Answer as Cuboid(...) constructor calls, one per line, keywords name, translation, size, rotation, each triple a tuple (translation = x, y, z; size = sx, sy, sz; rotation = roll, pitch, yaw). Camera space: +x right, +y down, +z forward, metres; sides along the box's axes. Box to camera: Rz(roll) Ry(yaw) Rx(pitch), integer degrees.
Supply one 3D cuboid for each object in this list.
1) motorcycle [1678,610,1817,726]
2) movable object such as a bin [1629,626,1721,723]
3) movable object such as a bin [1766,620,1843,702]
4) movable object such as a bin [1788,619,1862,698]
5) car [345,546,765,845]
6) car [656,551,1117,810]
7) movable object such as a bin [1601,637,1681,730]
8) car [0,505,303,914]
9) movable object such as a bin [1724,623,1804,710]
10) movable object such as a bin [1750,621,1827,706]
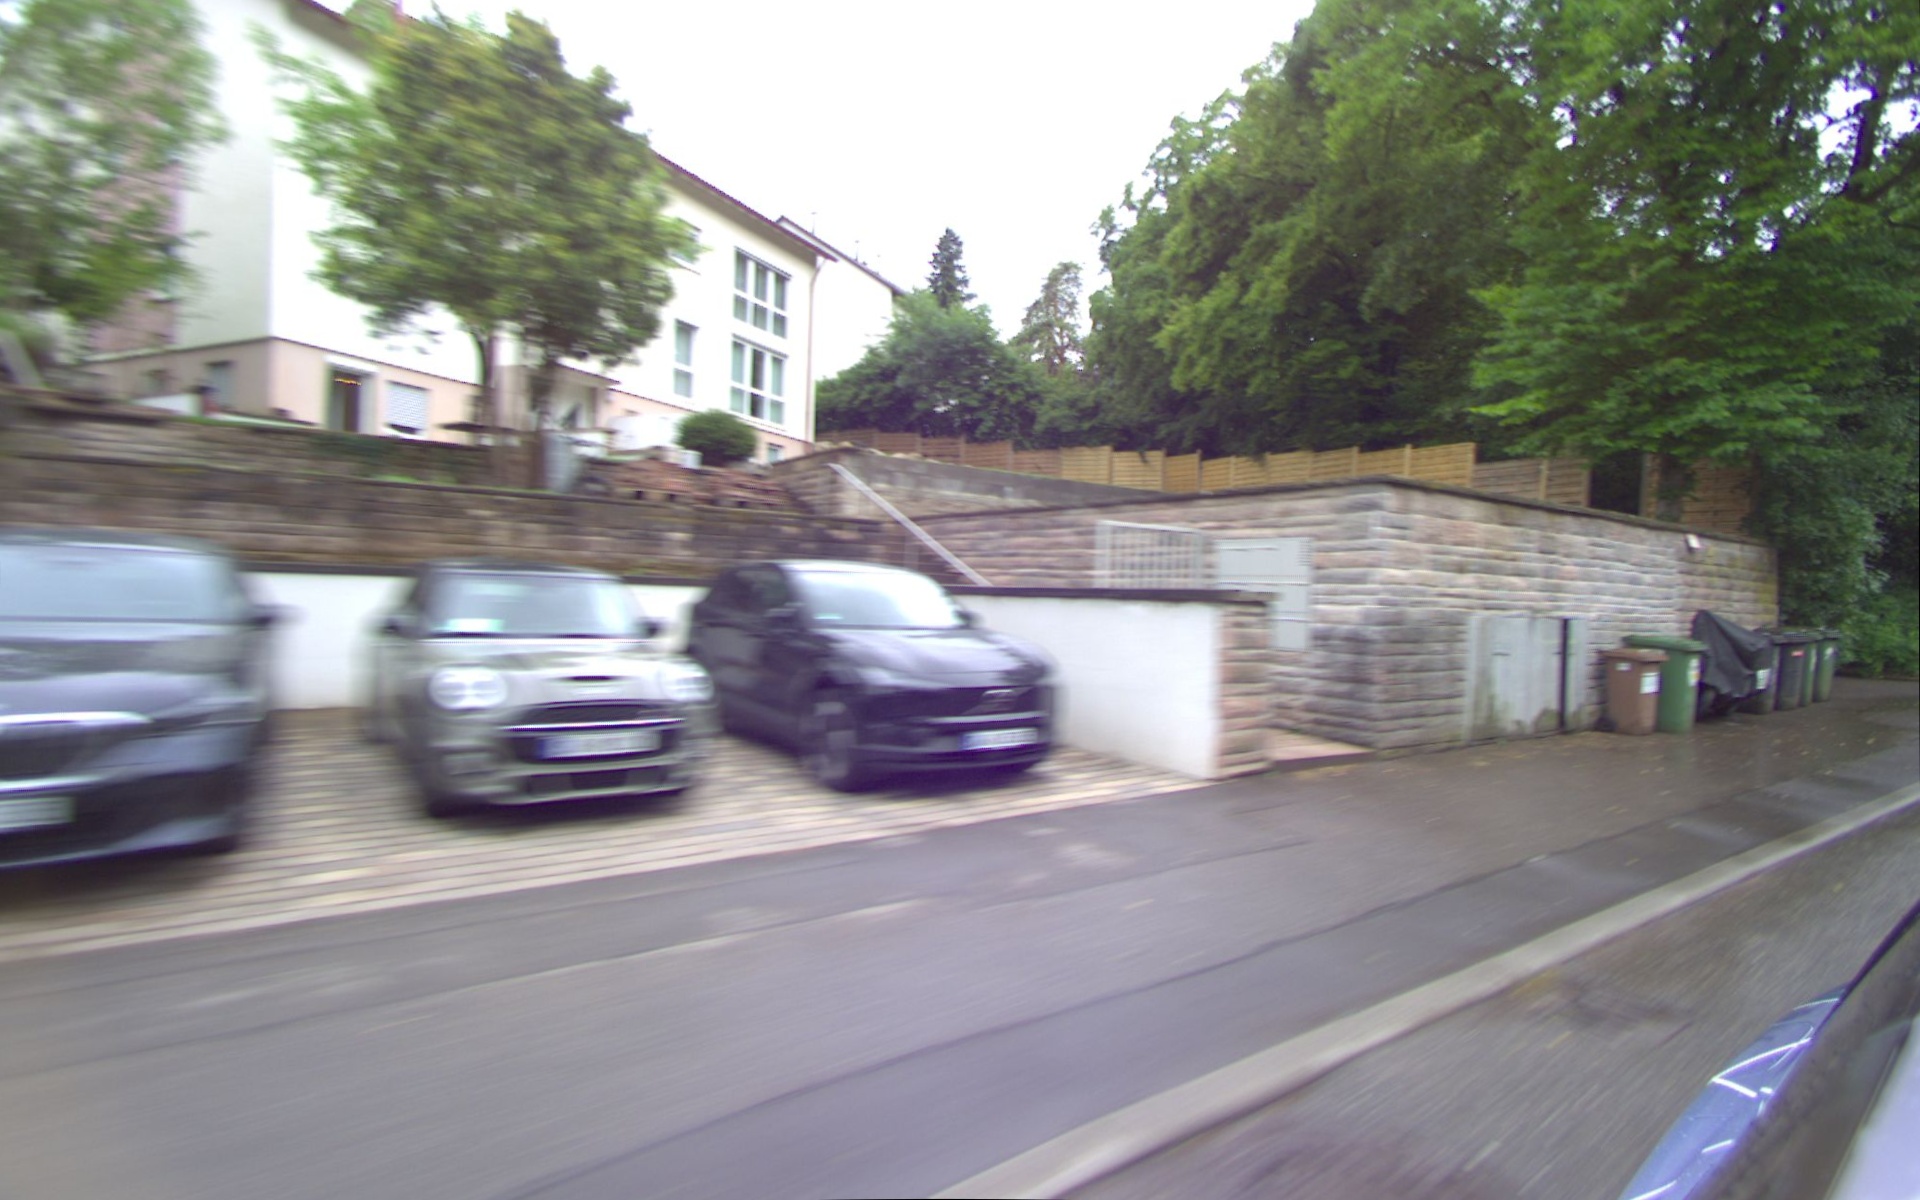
Cuboid(name="motorcycle", translation=(9.434, 0.763, 12.100), size=(1.975, 1.260, 0.778), rotation=(0, 0, -35))
Cuboid(name="movable object such as a bin", translation=(8.031, 0.817, 11.371), size=(0.647, 1.017, 0.667), rotation=(0, 0, -35))
Cuboid(name="movable object such as a bin", translation=(11.765, 0.825, 14.098), size=(0.688, 1.081, 0.667), rotation=(0, 0, -35))
Cuboid(name="movable object such as a bin", translation=(12.436, 0.825, 14.547), size=(0.688, 1.081, 0.667), rotation=(0, 0, -35))
Cuboid(name="car", translation=(-2.982, 0.400, 6.971), size=(1.802, 1.443, 3.647), rotation=(1, 2, -37))
Cuboid(name="car", translation=(-0.880, 0.410, 8.398), size=(1.859, 1.526, 4.233), rotation=(1, 2, -36))
Cuboid(name="movable object such as a bin", translation=(7.402, 0.888, 11.000), size=(0.539, 0.949, 0.570), rotation=(0, 0, -35))
Cuboid(name="car", translation=(-4.761, 0.308, 5.441), size=(1.920, 1.533, 4.052), rotation=(2, 2, -32))
Cuboid(name="movable object such as a bin", translation=(10.510, 0.849, 13.226), size=(0.647, 1.081, 0.667), rotation=(0, 0, -35))
Cuboid(name="movable object such as a bin", translation=(11.179, 0.836, 13.660), size=(0.647, 1.081, 0.667), rotation=(0, 0, -35))
